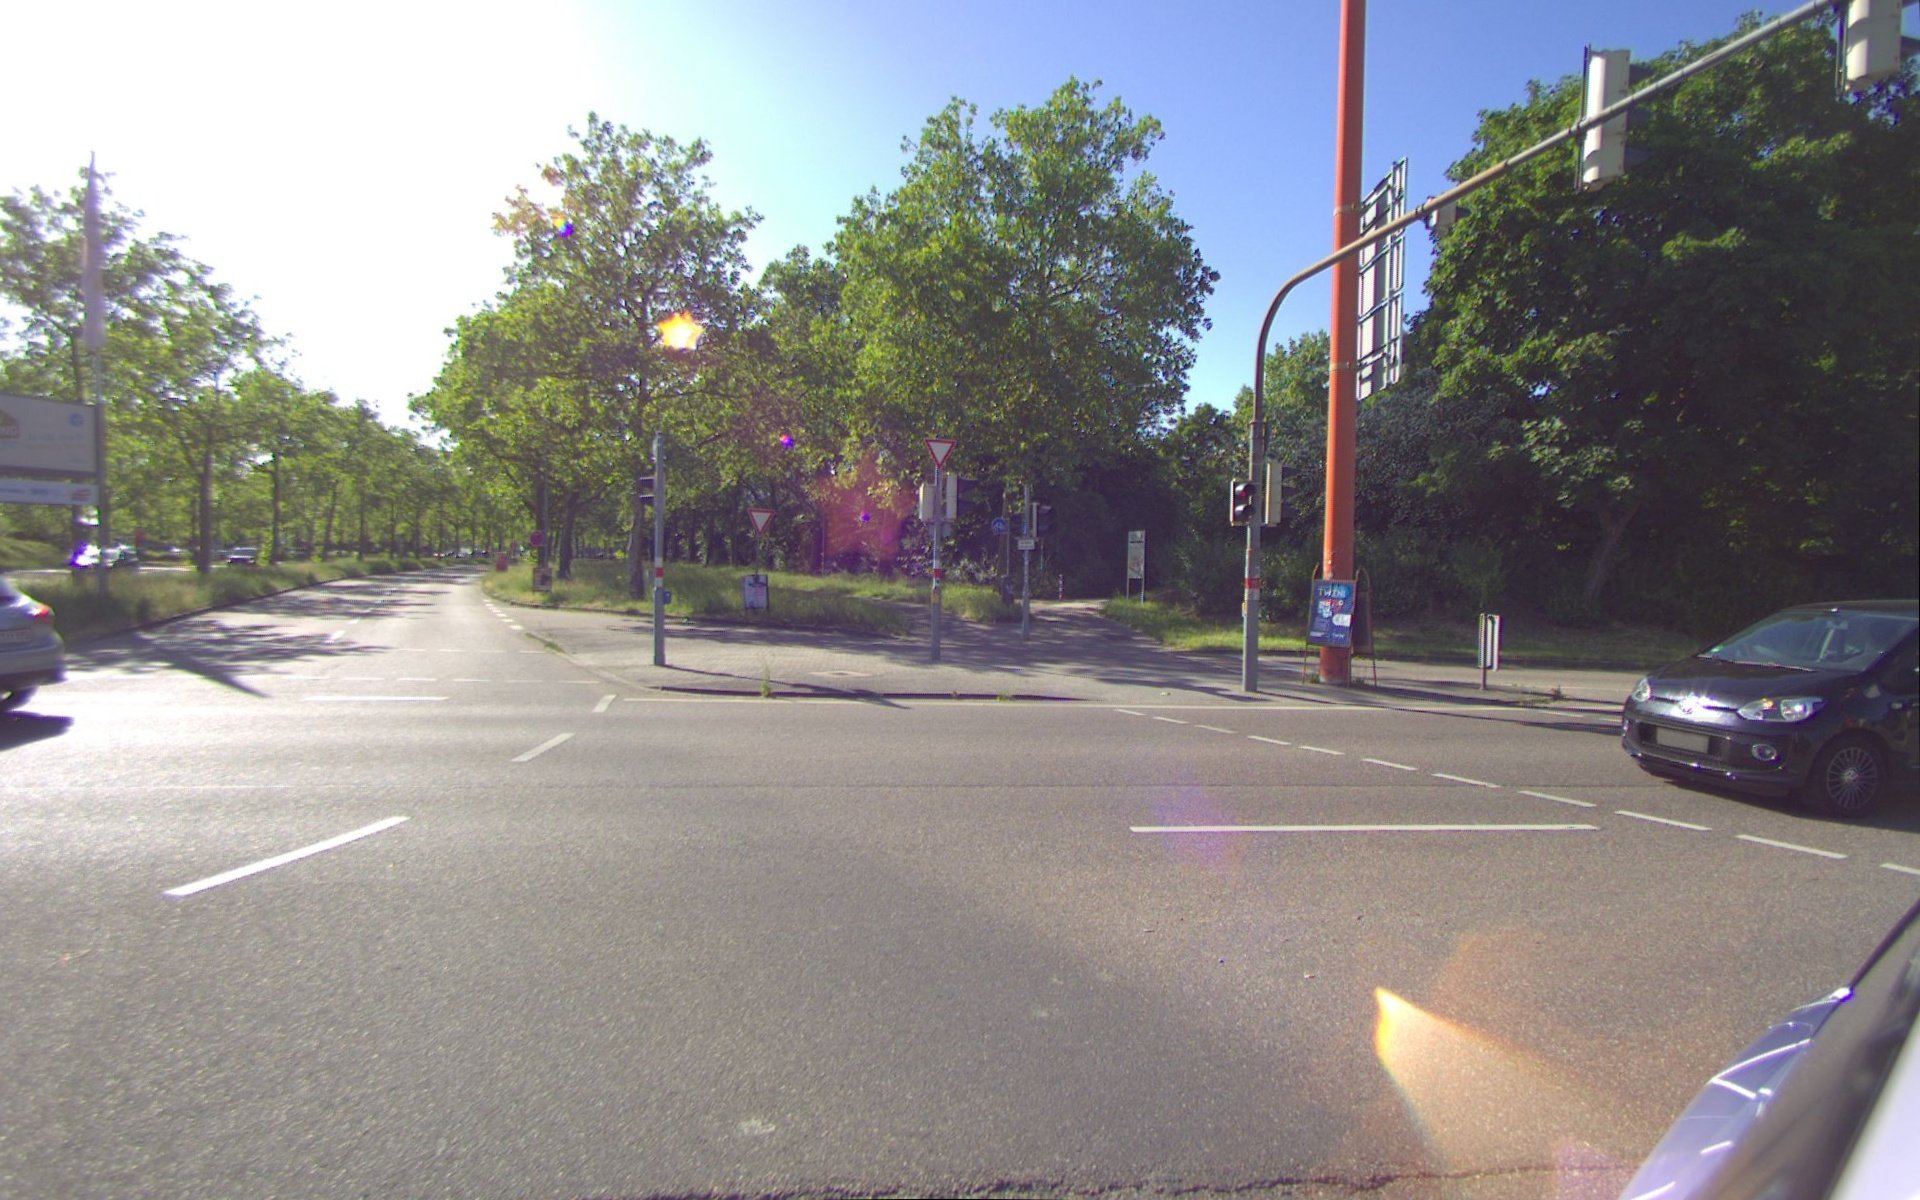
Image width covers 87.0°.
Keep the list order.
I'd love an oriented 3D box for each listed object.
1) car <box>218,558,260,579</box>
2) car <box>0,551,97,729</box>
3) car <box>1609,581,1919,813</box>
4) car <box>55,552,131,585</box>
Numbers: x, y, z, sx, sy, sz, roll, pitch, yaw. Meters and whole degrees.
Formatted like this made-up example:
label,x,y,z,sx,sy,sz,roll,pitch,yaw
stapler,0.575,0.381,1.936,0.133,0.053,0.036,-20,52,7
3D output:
label,x,y,z,sx,sy,sz,roll,pitch,yaw
car,-54.463,-2.324,76.464,1.737,1.527,4.234,0,1,-23
car,-10.314,0.312,8.757,4.053,1.536,1.729,1,1,-7
car,7.093,0.643,7.657,3.382,1.512,1.625,1,1,-8
car,-43.154,-1.534,50.465,1.737,1.527,4.233,0,1,-24
